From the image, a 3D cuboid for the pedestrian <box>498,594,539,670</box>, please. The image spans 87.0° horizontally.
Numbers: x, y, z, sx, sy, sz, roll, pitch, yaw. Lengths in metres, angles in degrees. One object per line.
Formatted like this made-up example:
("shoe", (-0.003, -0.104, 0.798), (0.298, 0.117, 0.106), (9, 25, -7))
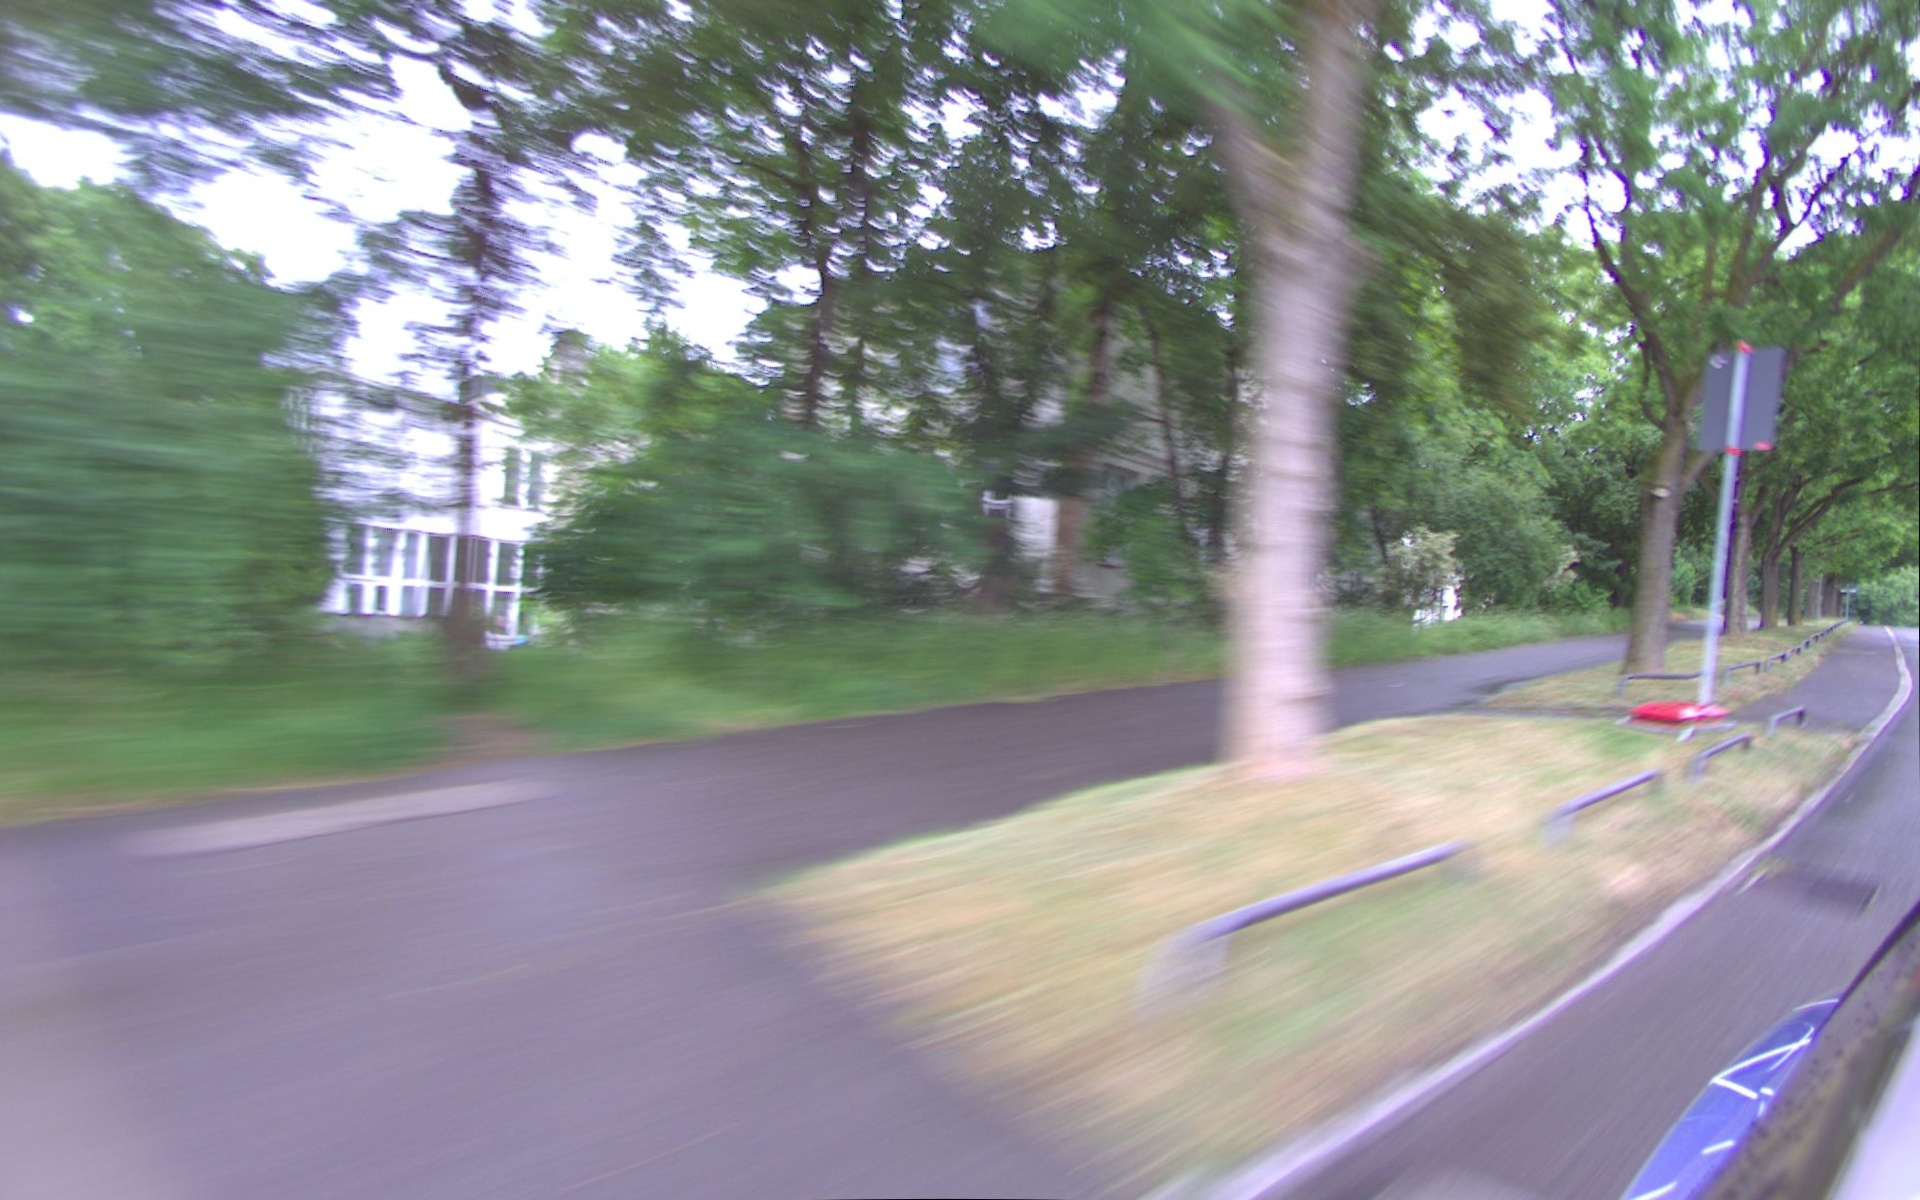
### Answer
("pedestrian", (-5.915, 0.418, 13.555), (0.398, 0.993, 0.373), (0, 2, -43))
